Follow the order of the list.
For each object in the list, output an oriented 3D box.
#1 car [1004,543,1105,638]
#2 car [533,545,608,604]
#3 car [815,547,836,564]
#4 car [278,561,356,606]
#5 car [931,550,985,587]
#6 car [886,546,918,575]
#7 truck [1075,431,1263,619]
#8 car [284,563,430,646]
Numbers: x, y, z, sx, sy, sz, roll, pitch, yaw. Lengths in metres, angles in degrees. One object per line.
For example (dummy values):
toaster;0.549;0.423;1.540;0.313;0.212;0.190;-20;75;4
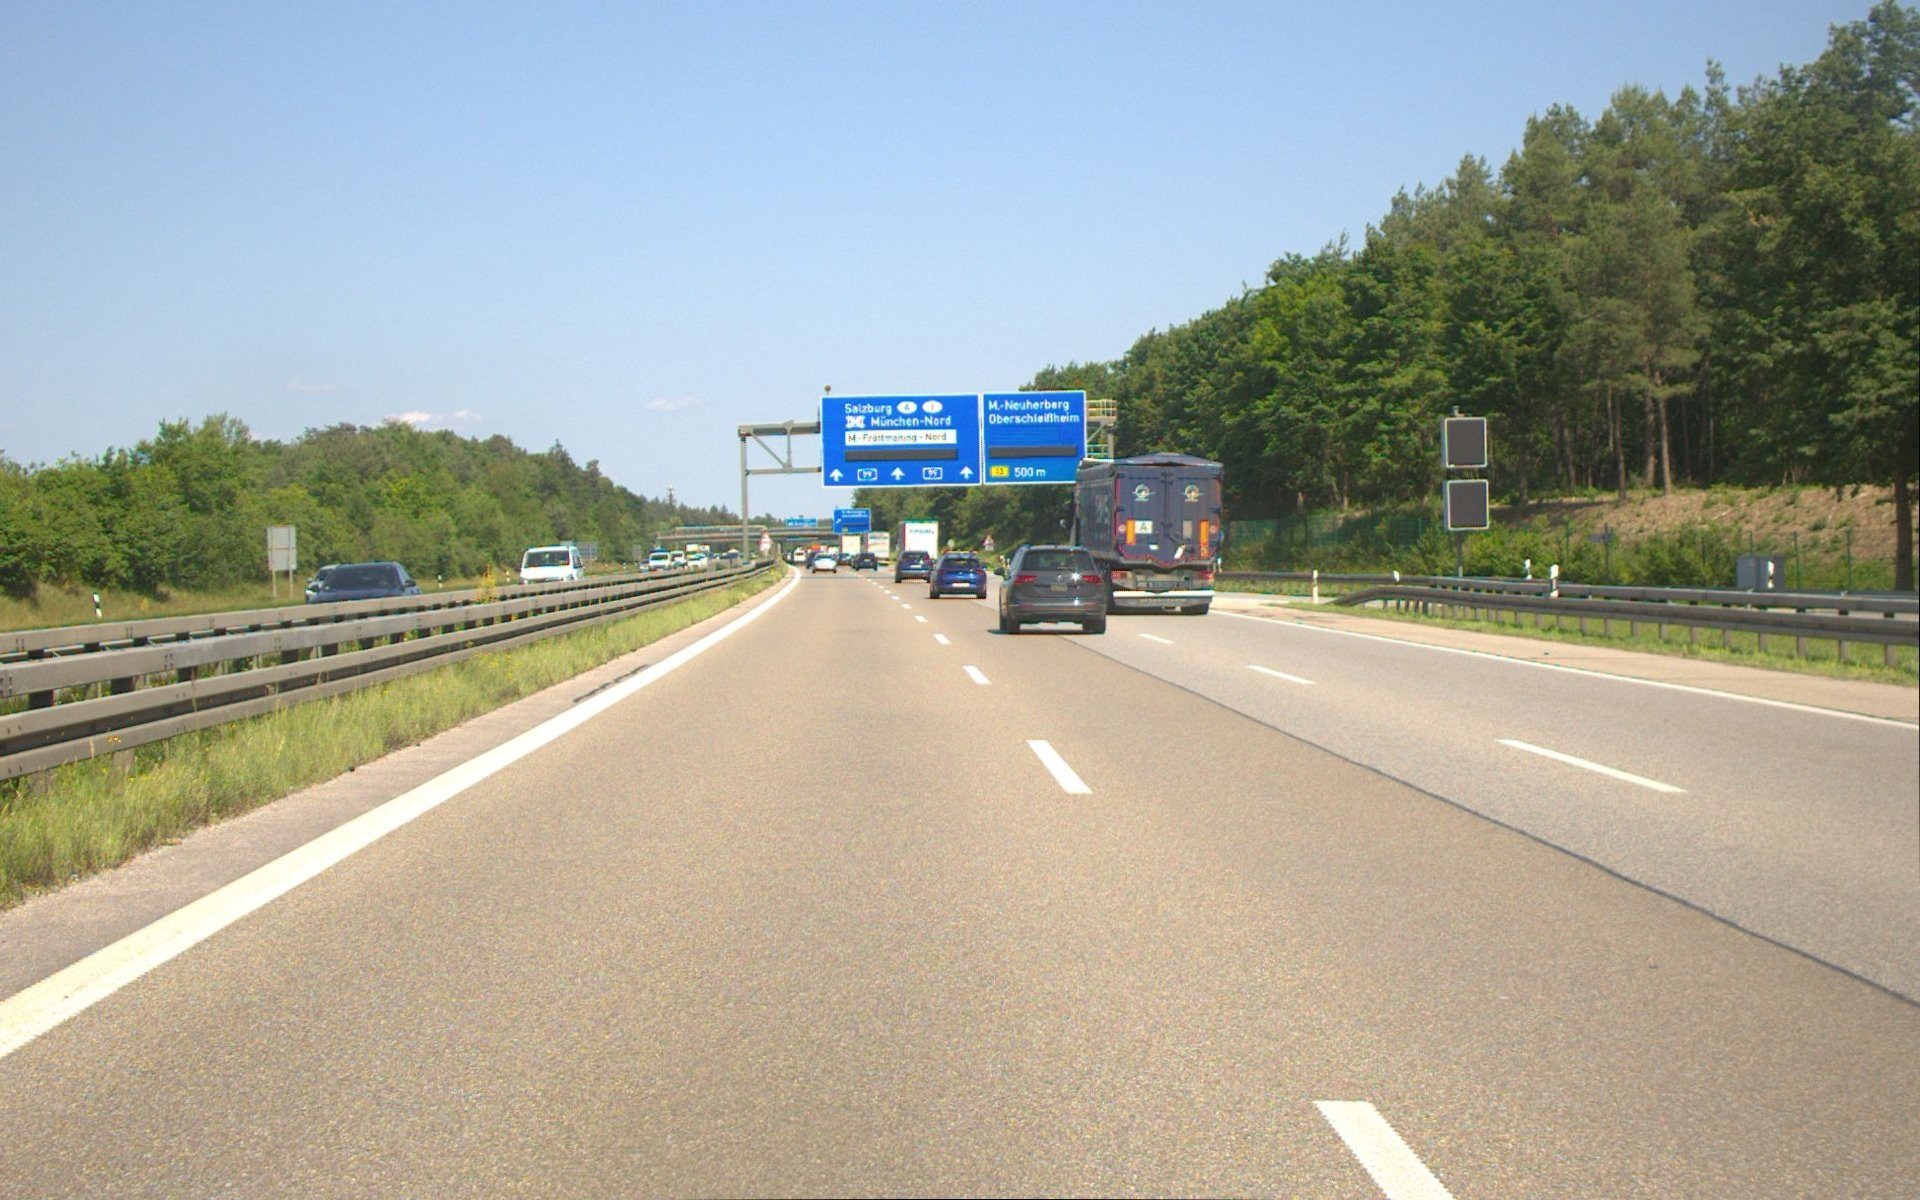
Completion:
car;1.771;-0.207;63.994;1.799;1.663;4.258;1;1;2
car;-12.955;-0.852;114.552;1.920;1.866;5.518;2;1;-1
car;-9.732;-3.239;248.949;1.471;1.223;3.410;-1;1;-1
car;-21.319;-0.574;114.134;1.788;1.434;4.521;0;1;-1
car;-0.075;-1.031;111.232;1.709;1.151;3.689;-1;1;-1
car;-2.846;-1.948;169.156;1.471;1.393;3.410;2;1;-1
truck;5.146;-1.891;87.726;3.780;4.407;14.052;0;1;-1
car;-11.100;0.059;63.568;1.993;1.434;4.204;0;1;-1
